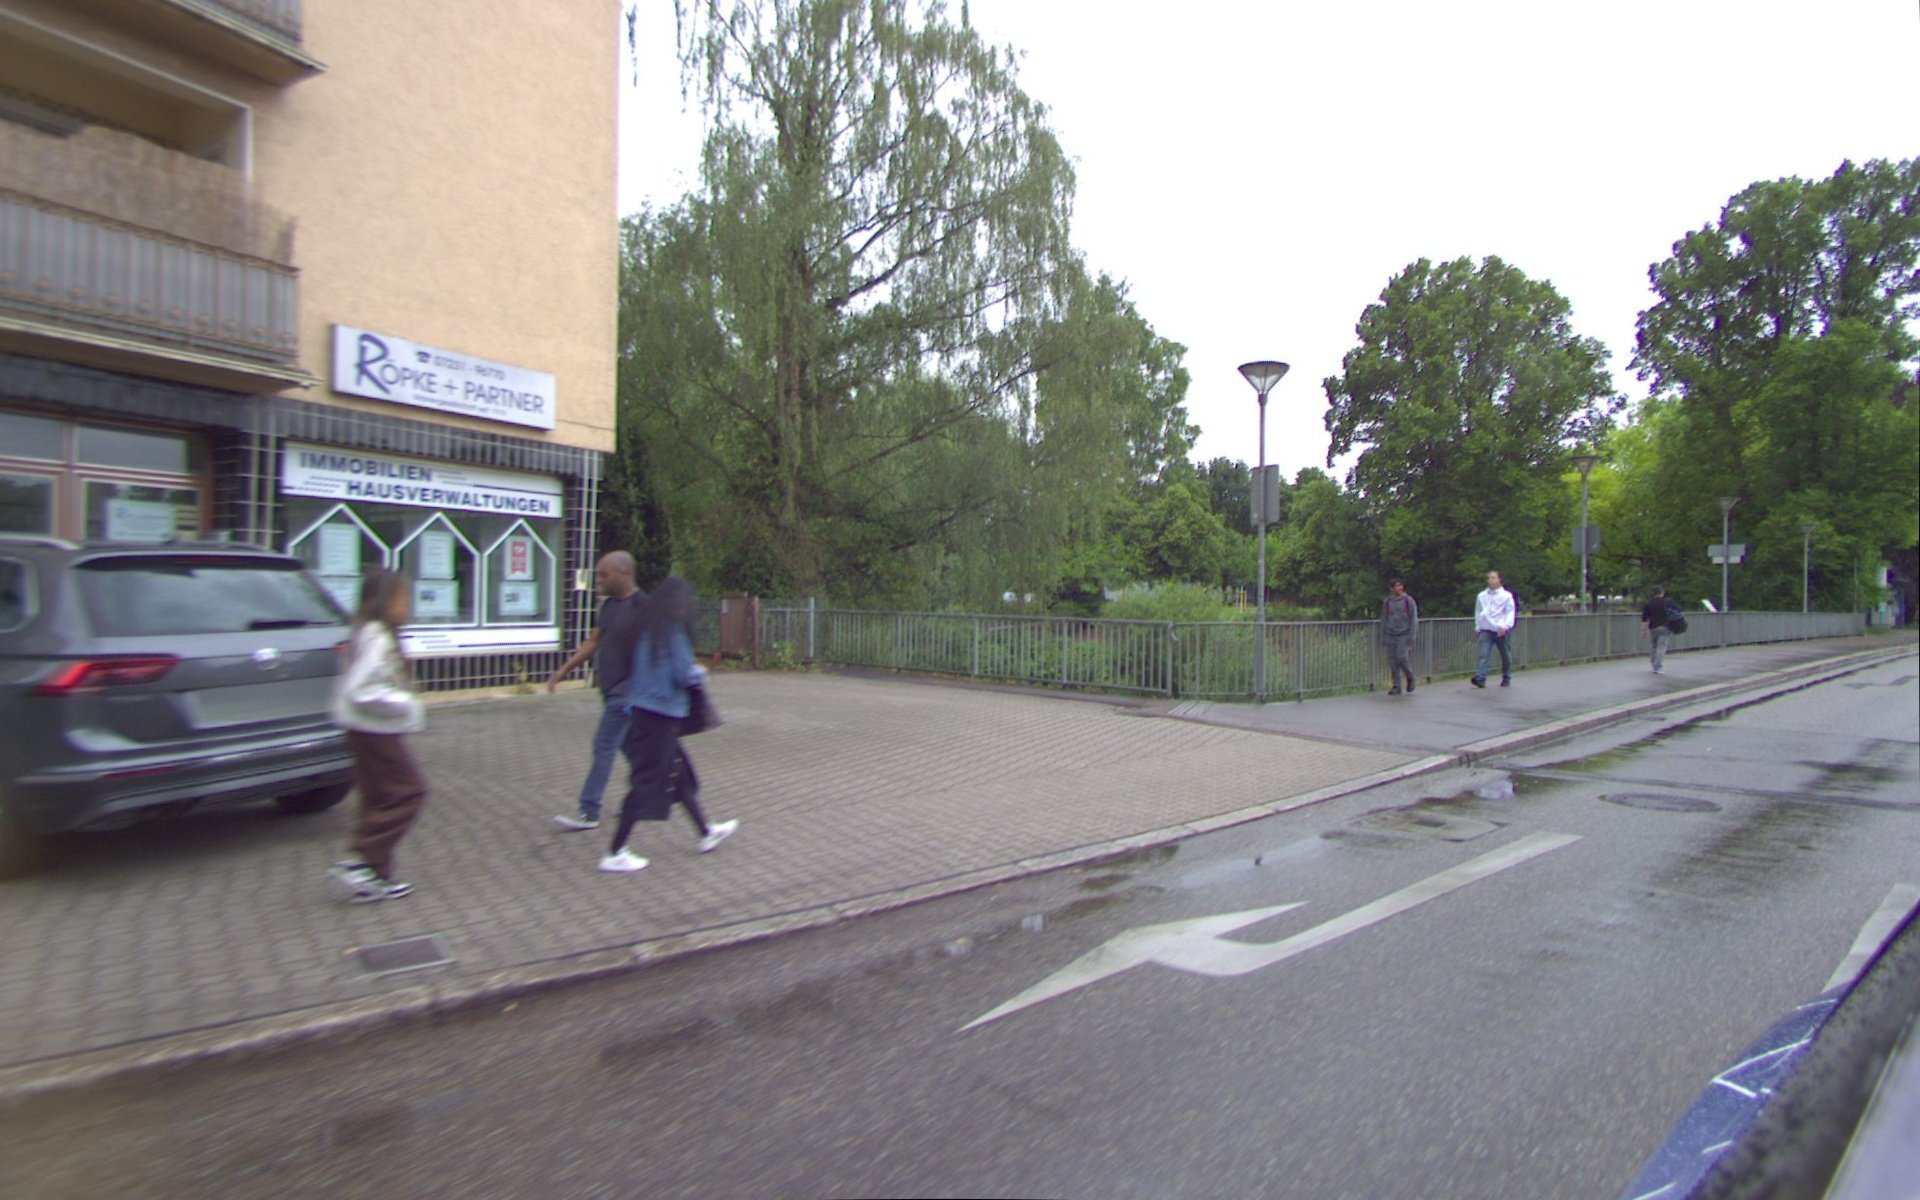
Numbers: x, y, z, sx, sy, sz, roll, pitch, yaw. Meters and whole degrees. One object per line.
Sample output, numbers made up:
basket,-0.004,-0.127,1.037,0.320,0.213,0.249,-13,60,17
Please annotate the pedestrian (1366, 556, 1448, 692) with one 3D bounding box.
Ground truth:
pedestrian,6.251,0.320,14.163,0.767,1.831,0.762,1,1,-41

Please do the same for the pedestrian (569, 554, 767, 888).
pedestrian,-1.566,0.578,5.435,0.782,1.620,0.658,0,2,-44

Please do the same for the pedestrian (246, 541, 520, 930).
pedestrian,-2.645,0.550,4.686,0.755,1.594,0.775,3,1,22

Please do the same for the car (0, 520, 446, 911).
car,-5.424,0.413,6.010,4.330,1.669,1.870,2,1,22

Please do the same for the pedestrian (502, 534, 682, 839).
pedestrian,-2.243,0.471,6.164,0.767,1.698,0.762,1,1,-41

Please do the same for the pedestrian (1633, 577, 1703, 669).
pedestrian,13.045,0.405,18.653,0.825,1.639,0.864,0,1,-41

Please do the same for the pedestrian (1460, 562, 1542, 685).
pedestrian,8.171,0.329,15.283,1.042,1.774,0.781,0,0,-42
